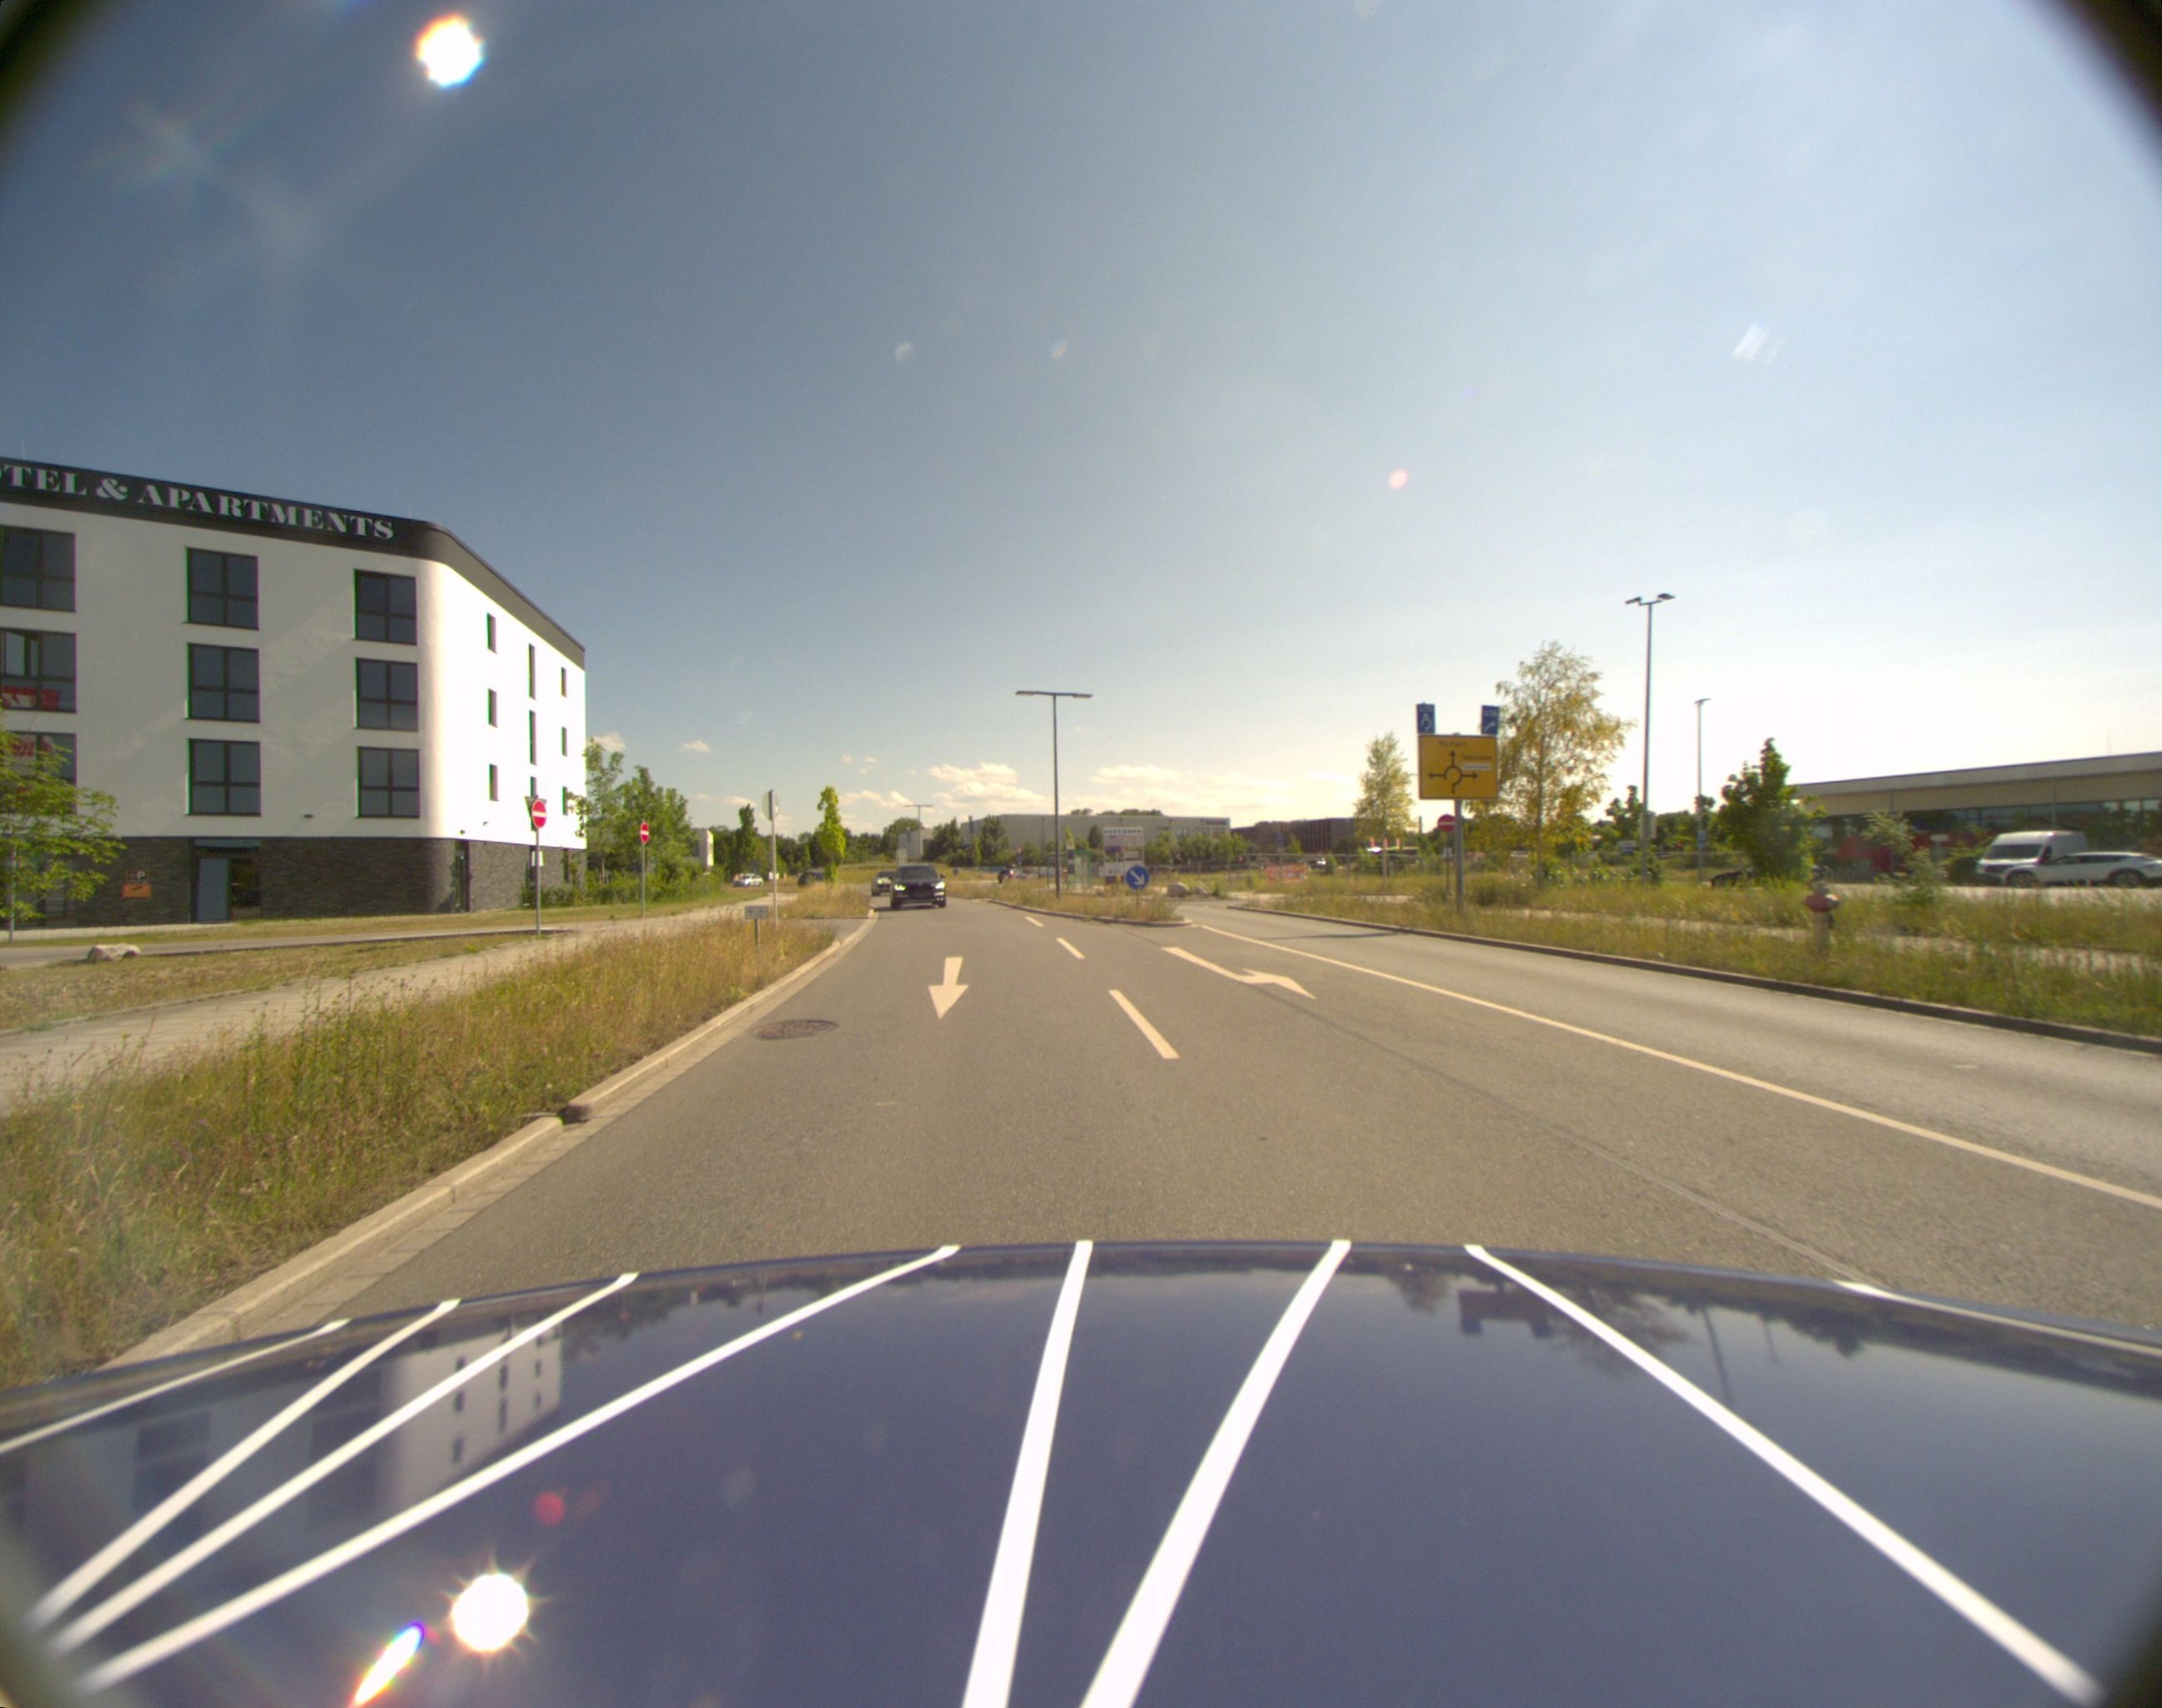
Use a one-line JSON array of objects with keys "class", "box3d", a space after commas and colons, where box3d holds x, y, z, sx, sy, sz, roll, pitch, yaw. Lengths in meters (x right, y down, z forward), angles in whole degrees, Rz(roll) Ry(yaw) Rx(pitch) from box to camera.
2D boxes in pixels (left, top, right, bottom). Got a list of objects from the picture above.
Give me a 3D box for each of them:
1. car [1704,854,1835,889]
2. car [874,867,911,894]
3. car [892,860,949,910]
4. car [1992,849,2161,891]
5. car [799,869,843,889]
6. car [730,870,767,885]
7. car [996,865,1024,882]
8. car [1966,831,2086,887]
[{"class": "car", "box3d": [35.153, 0.858, 38.940, 2.285, 1.678, 4.412, -1, 0, -23]}, {"class": "car", "box3d": [-12.656, 1.783, 50.792, 2.117, 1.633, 4.772, -1, -2, -17]}, {"class": "car", "box3d": [-6.130, 1.161, 28.726, 1.903, 1.669, 4.462, -2, -2, -14]}, {"class": "car", "box3d": [43.366, 0.645, 32.932, 1.978, 1.678, 4.569, -1, 0, -18]}, {"class": "car", "box3d": [-22.834, 2.164, 66.753, 4.368, 1.678, 1.761, -1, 0, 43]}, {"class": "car", "box3d": [-38.188, 2.718, 87.442, 1.997, 1.517, 4.003, -1, 0, 10]}, {"class": "car", "box3d": [-7.095, 1.935, 76.387, 1.755, 1.597, 4.525, -1, 0, 7]}, {"class": "car", "box3d": [46.752, 0.220, 37.577, 5.724, 2.572, 1.937, -1, 0, -19]}]
